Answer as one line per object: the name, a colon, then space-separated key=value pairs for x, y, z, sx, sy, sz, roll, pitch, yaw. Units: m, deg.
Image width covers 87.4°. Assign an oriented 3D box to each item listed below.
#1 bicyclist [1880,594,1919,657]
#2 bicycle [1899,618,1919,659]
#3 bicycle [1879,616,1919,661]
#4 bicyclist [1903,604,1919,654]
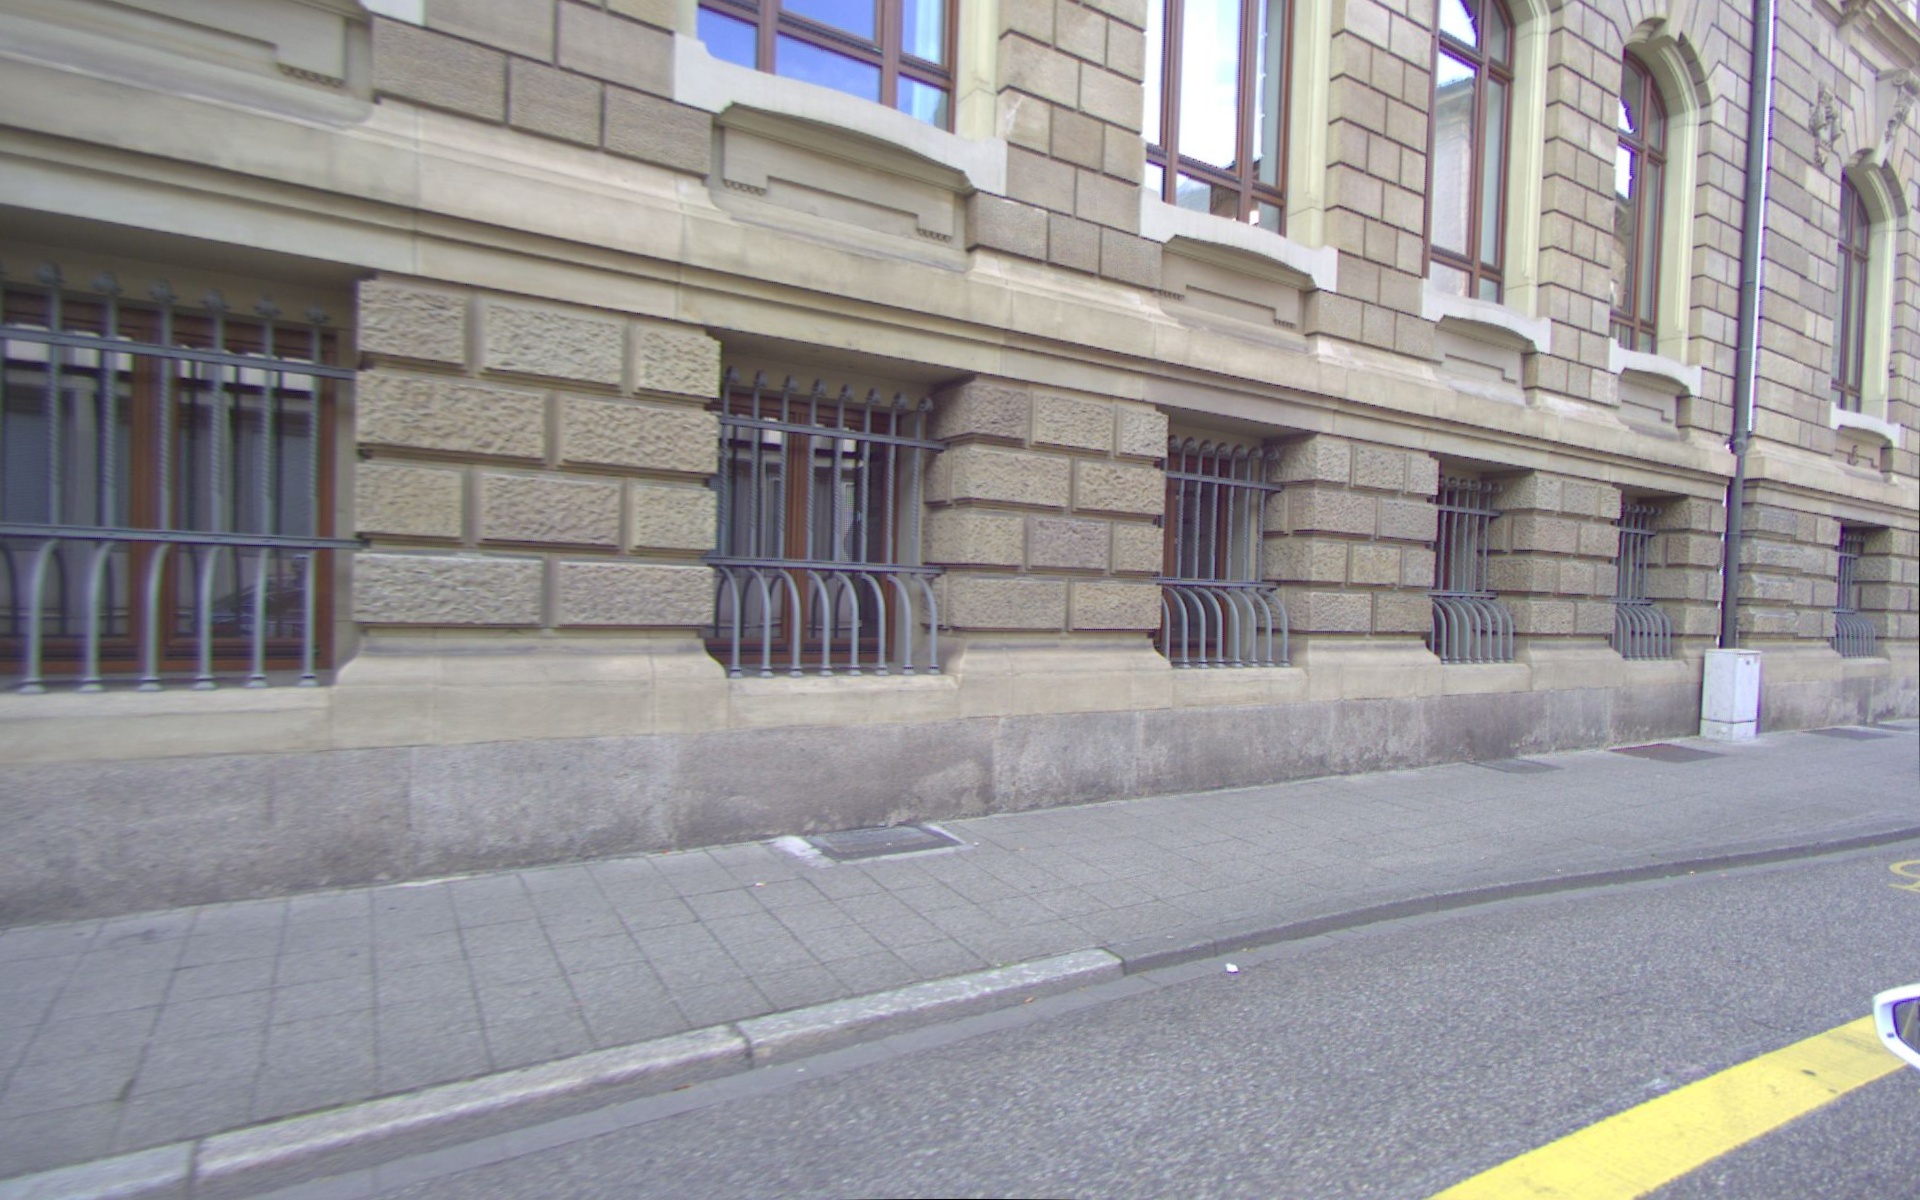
bicyclist: x=28.706 y=0.772 z=30.391 sx=1.354 sy=1.848 sz=1.082 roll=2 pitch=0 yaw=-40
bicycle: x=31.439 y=1.263 z=32.728 sx=2.521 sy=1.272 sz=0.918 roll=2 pitch=0 yaw=-40
bicycle: x=28.895 y=1.178 z=30.527 sx=3.016 sy=1.272 sz=1.047 roll=2 pitch=0 yaw=-40
bicyclist: x=31.521 y=0.954 z=32.798 sx=1.055 sy=1.630 sz=0.918 roll=2 pitch=0 yaw=-40
